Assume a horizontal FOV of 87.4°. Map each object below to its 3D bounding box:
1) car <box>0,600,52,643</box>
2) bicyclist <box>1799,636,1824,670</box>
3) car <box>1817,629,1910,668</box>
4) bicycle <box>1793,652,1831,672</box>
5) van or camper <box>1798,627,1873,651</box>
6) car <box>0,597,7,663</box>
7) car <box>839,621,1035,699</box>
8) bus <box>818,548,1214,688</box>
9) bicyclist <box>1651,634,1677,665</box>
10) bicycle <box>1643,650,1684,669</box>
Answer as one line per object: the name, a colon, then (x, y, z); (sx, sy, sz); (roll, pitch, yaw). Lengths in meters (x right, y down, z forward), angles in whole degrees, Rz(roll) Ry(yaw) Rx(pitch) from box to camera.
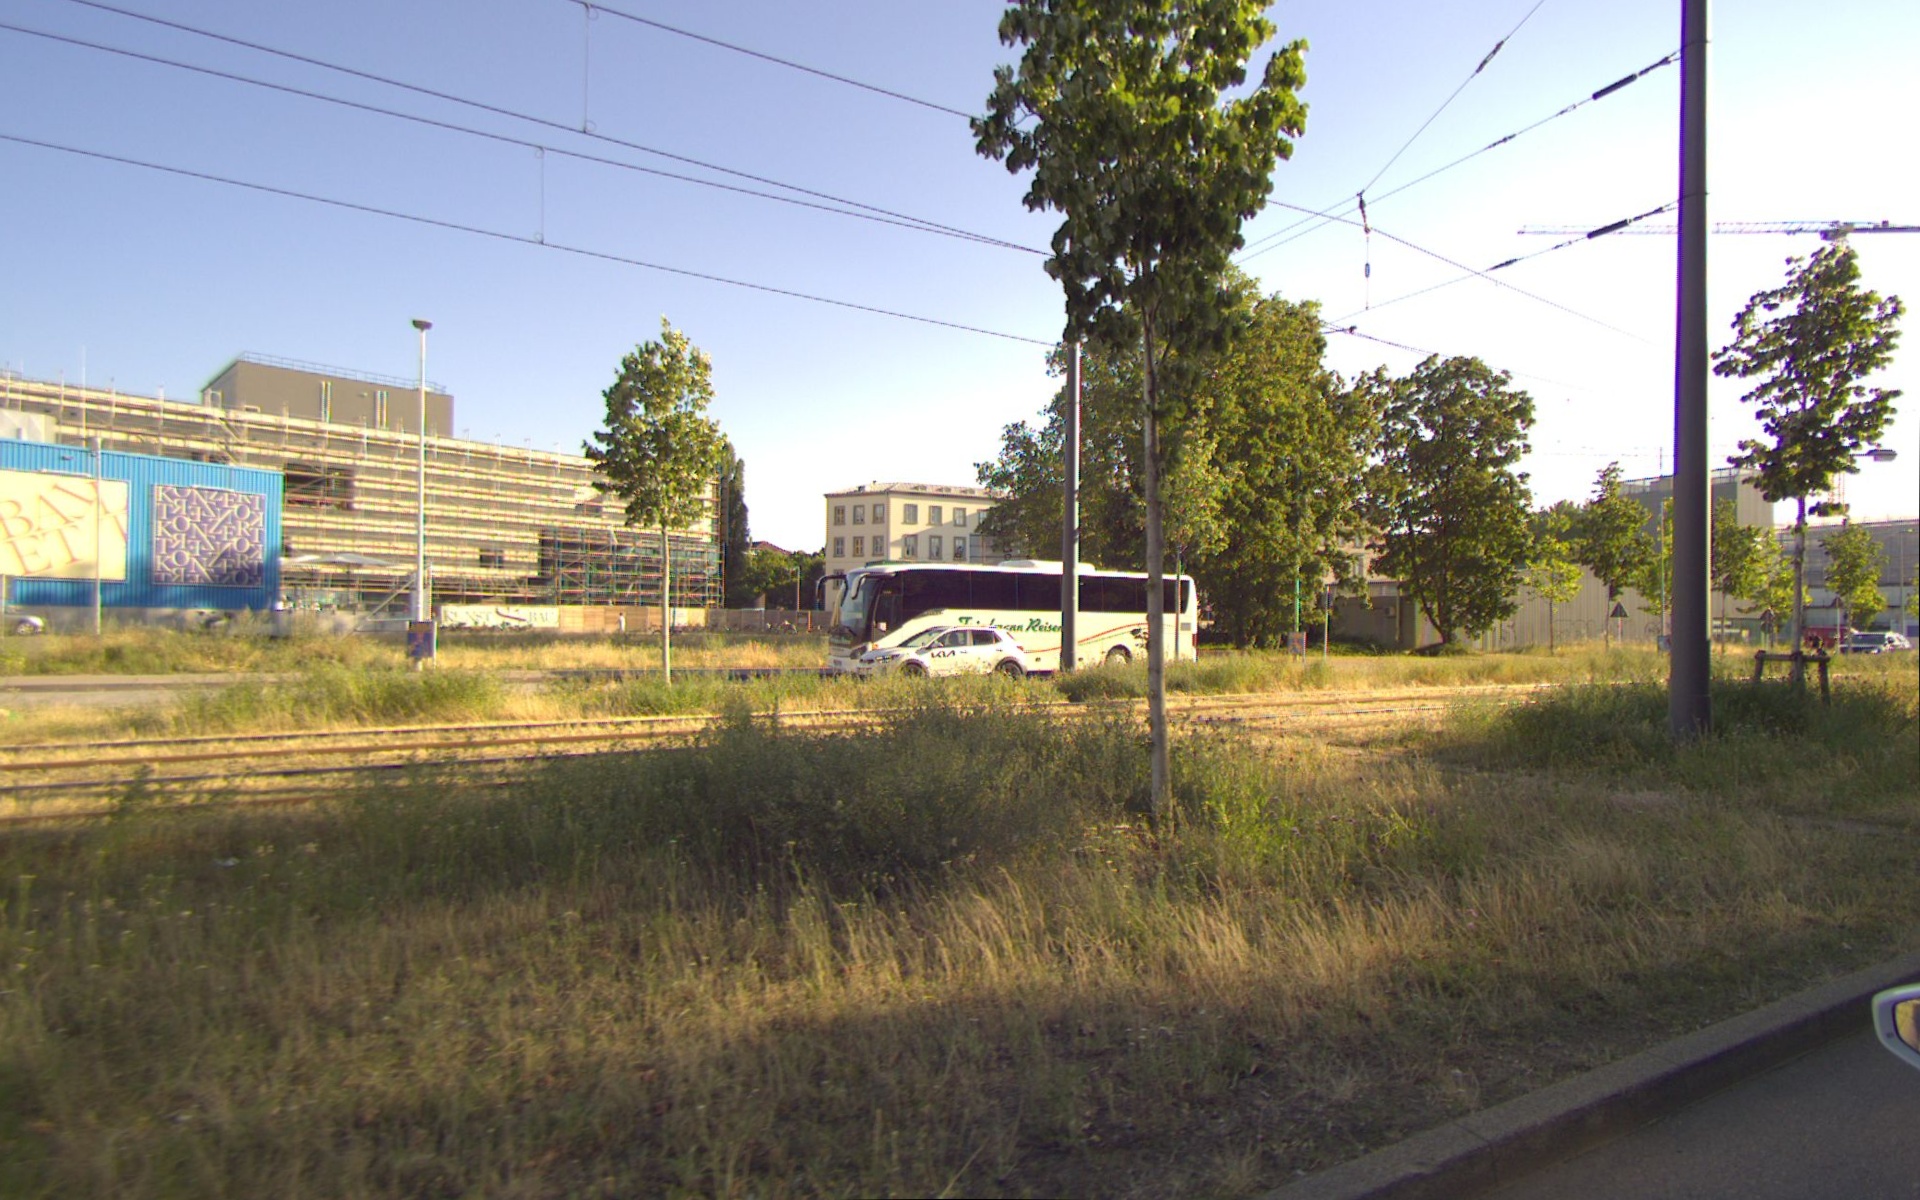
car: (-37.714, 0.815, 38.429); (1.389, 1.657, 4.211); (0, -1, 35)
bicyclist: (44.236, 2.742, 52.163); (0.942, 1.730, 0.685); (1, -1, -28)
car: (43.179, 2.291, 47.965); (4.754, 1.789, 1.863); (1, -1, -29)
bicycle: (44.217, 3.214, 52.118); (2.331, 1.016, 0.685); (1, -1, -28)
van or camper: (92.363, 4.111, 106.067); (2.126, 2.446, 5.643); (1, -2, -25)
car: (-25.147, 0.735, 24.097); (2.100, 1.739, 5.202); (1, -2, -30)
car: (-0.525, 1.345, 23.310); (4.118, 1.664, 1.985); (2, -1, -30)
bus: (2.080, 0.638, 30.561); (12.546, 3.642, 2.786); (2, -1, -30)
bicyclist: (31.965, 2.247, 45.617); (0.860, 1.364, 0.684); (1, -1, -29)
bicycle: (31.973, 2.699, 45.629); (2.119, 0.815, 0.684); (1, -1, -30)
